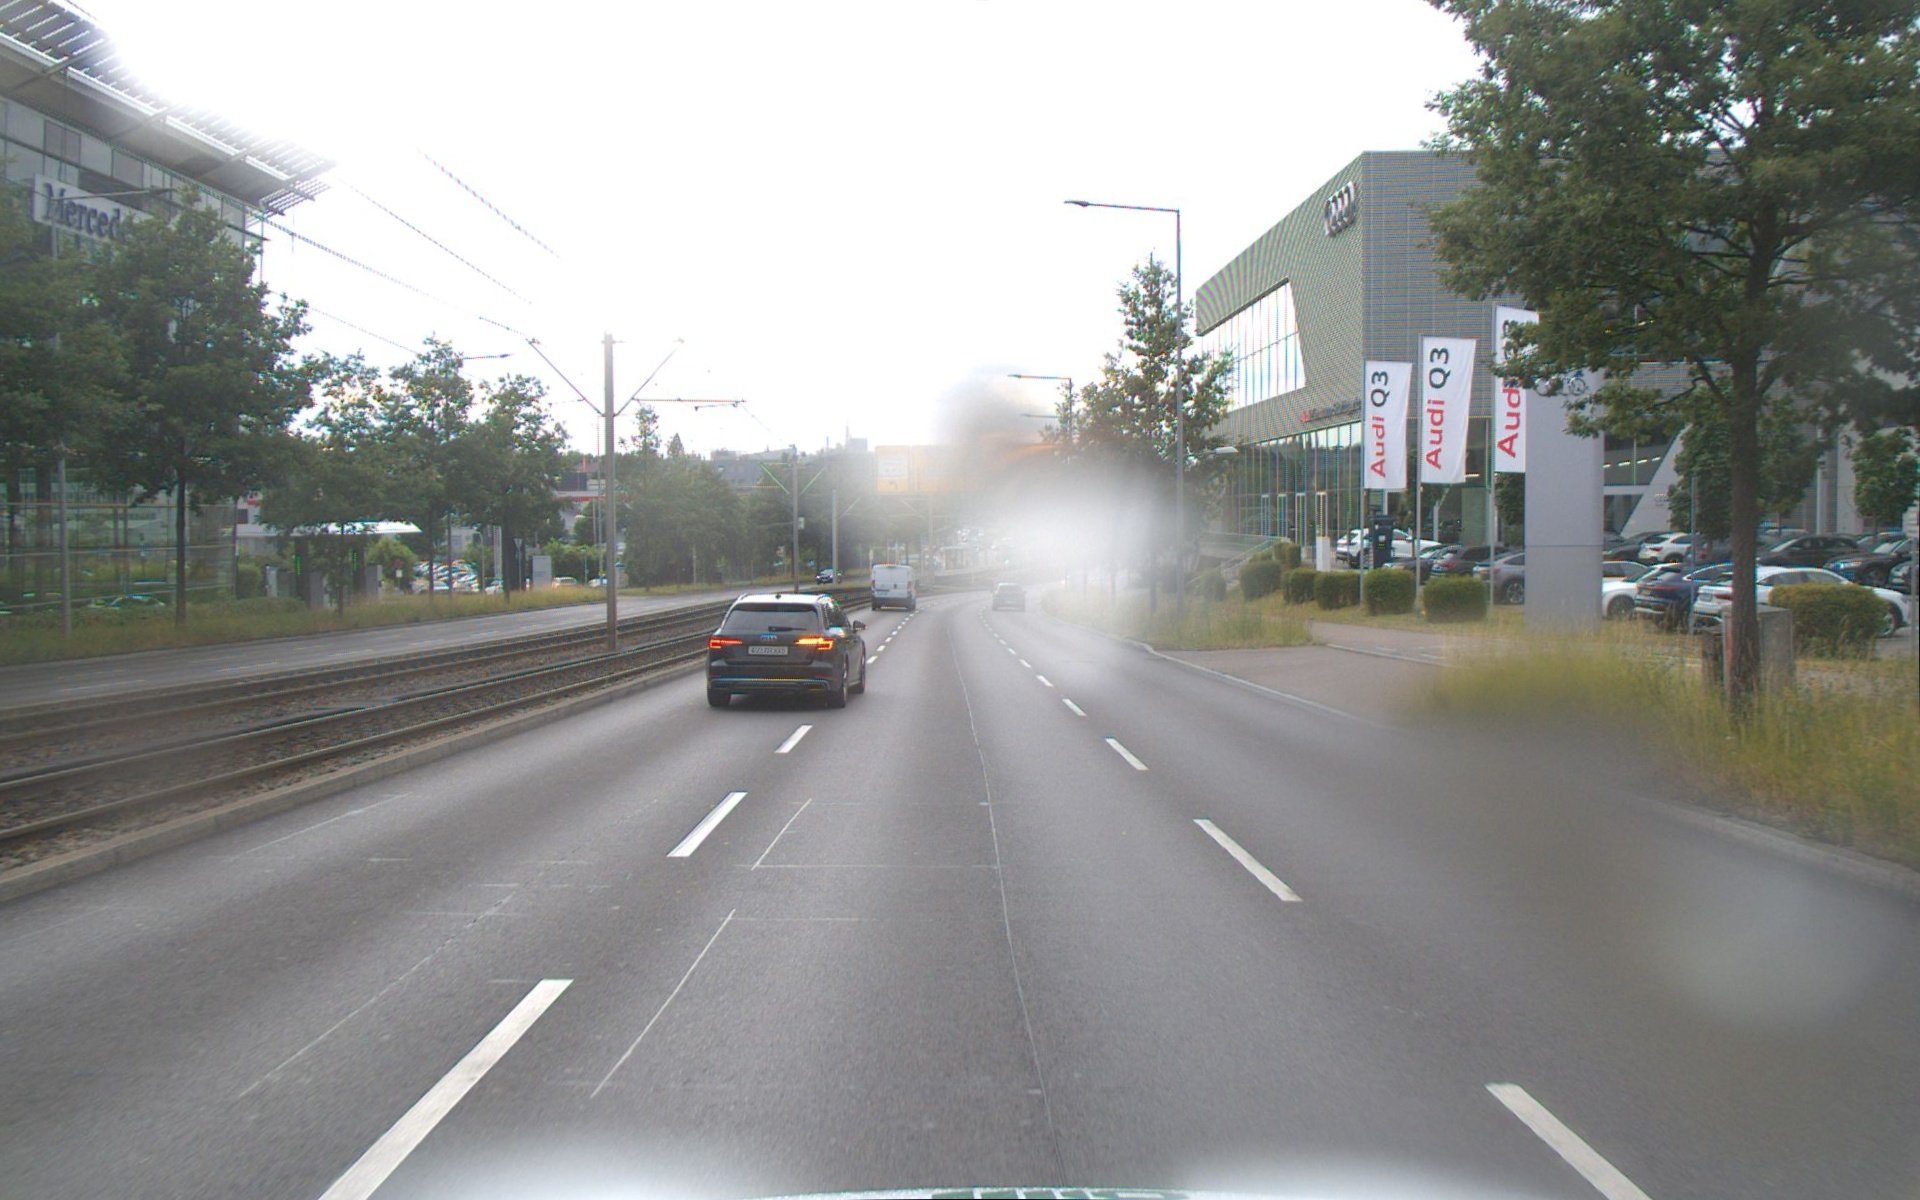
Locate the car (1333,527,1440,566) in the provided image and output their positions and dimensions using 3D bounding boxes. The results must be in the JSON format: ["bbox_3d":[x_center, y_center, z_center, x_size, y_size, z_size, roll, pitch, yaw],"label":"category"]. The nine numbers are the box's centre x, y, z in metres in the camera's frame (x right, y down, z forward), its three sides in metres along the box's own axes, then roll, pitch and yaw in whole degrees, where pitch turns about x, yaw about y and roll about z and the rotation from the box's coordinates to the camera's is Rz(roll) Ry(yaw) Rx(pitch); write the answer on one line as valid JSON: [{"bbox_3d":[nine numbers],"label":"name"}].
[{"bbox_3d":[18.426,-2.310,71.612,4.173,1.601,1.692,0,1,-2],"label":"car"}]

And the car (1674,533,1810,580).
[{"bbox_3d":[27.950,-1.554,59.190,4.022,1.601,1.825,0,1,-2],"label":"car"}]

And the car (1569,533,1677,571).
[{"bbox_3d":[28.892,-2.076,72.118,4.022,1.601,1.692,0,1,-2],"label":"car"}]

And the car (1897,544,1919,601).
[{"bbox_3d":[28.750,-0.764,46.361,4.022,1.601,1.692,0,0,-2],"label":"car"}]

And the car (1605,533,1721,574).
[{"bbox_3d":[28.773,-1.897,67.742,4.022,1.601,1.759,0,1,-2],"label":"car"}]

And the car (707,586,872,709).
[{"bbox_3d":[-2.198,0.557,22.427,1.728,1.489,4.627,0,0,0],"label":"car"}]

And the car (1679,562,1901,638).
[{"bbox_3d":[18.301,0.027,36.544,4.029,1.622,1.944,0,-1,-9],"label":"car"}]

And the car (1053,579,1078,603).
[{"bbox_3d":[9.059,-0.766,142.249,1.979,1.800,4.003,1,3,2],"label":"car"}]

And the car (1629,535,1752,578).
[{"bbox_3d":[28.378,-1.696,64.290,4.022,1.601,1.692,0,1,-2],"label":"car"}]

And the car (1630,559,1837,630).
[{"bbox_3d":[18.177,-0.123,38.981,4.022,1.622,1.870,0,0,-2],"label":"car"}]

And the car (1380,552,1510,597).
[{"bbox_3d":[17.957,-0.958,61.372,4.331,1.601,1.692,0,1,-2],"label":"car"}]

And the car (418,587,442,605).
[{"bbox_3d":[-45.806,-0.341,142.945,1.727,1.520,3.974,1,0,-22],"label":"car"}]

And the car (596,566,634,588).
[{"bbox_3d":[-28.121,-1.850,135.004,1.951,1.679,4.002,1,0,4],"label":"car"}]

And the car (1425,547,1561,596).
[{"bbox_3d":[18.033,-0.969,56.056,4.022,1.601,1.692,0,1,-2],"label":"car"}]

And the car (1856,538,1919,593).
[{"bbox_3d":[29.256,-1.040,49.459,4.022,1.601,1.692,-1,1,-2],"label":"car"}]

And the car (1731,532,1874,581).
[{"bbox_3d":[28.581,-1.487,56.176,4.022,1.601,1.692,-1,2,-2],"label":"car"}]

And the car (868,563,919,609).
[{"bbox_3d":[-3.420,-0.707,84.162,2.461,2.215,5.146,1,0,-3],"label":"car"}]

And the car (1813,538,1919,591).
[{"bbox_3d":[28.970,-1.090,51.472,4.022,1.601,1.692,-1,0,-2],"label":"car"}]

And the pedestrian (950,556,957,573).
[{"bbox_3d":[-0.736,-4.054,187.081,0.623,1.886,0.751,1,0,11],"label":"pedestrian"}]

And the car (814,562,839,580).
[{"bbox_3d":[-12.819,-2.781,159.028,1.844,1.547,4.405,-3,1,2],"label":"car"}]

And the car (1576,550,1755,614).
[{"bbox_3d":[18.587,-0.462,43.672,4.022,1.622,1.692,0,0,-2],"label":"car"}]

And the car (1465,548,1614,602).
[{"bbox_3d":[17.894,-0.783,51.154,4.022,1.636,1.692,0,1,-2],"label":"car"}]

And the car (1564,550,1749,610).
[{"bbox_3d":[19.304,-0.551,45.946,4.428,1.622,1.692,0,0,-2],"label":"car"}]

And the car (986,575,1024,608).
[{"bbox_3d":[2.410,-0.435,88.816,1.979,1.651,4.001,1,0,1],"label":"car"}]
